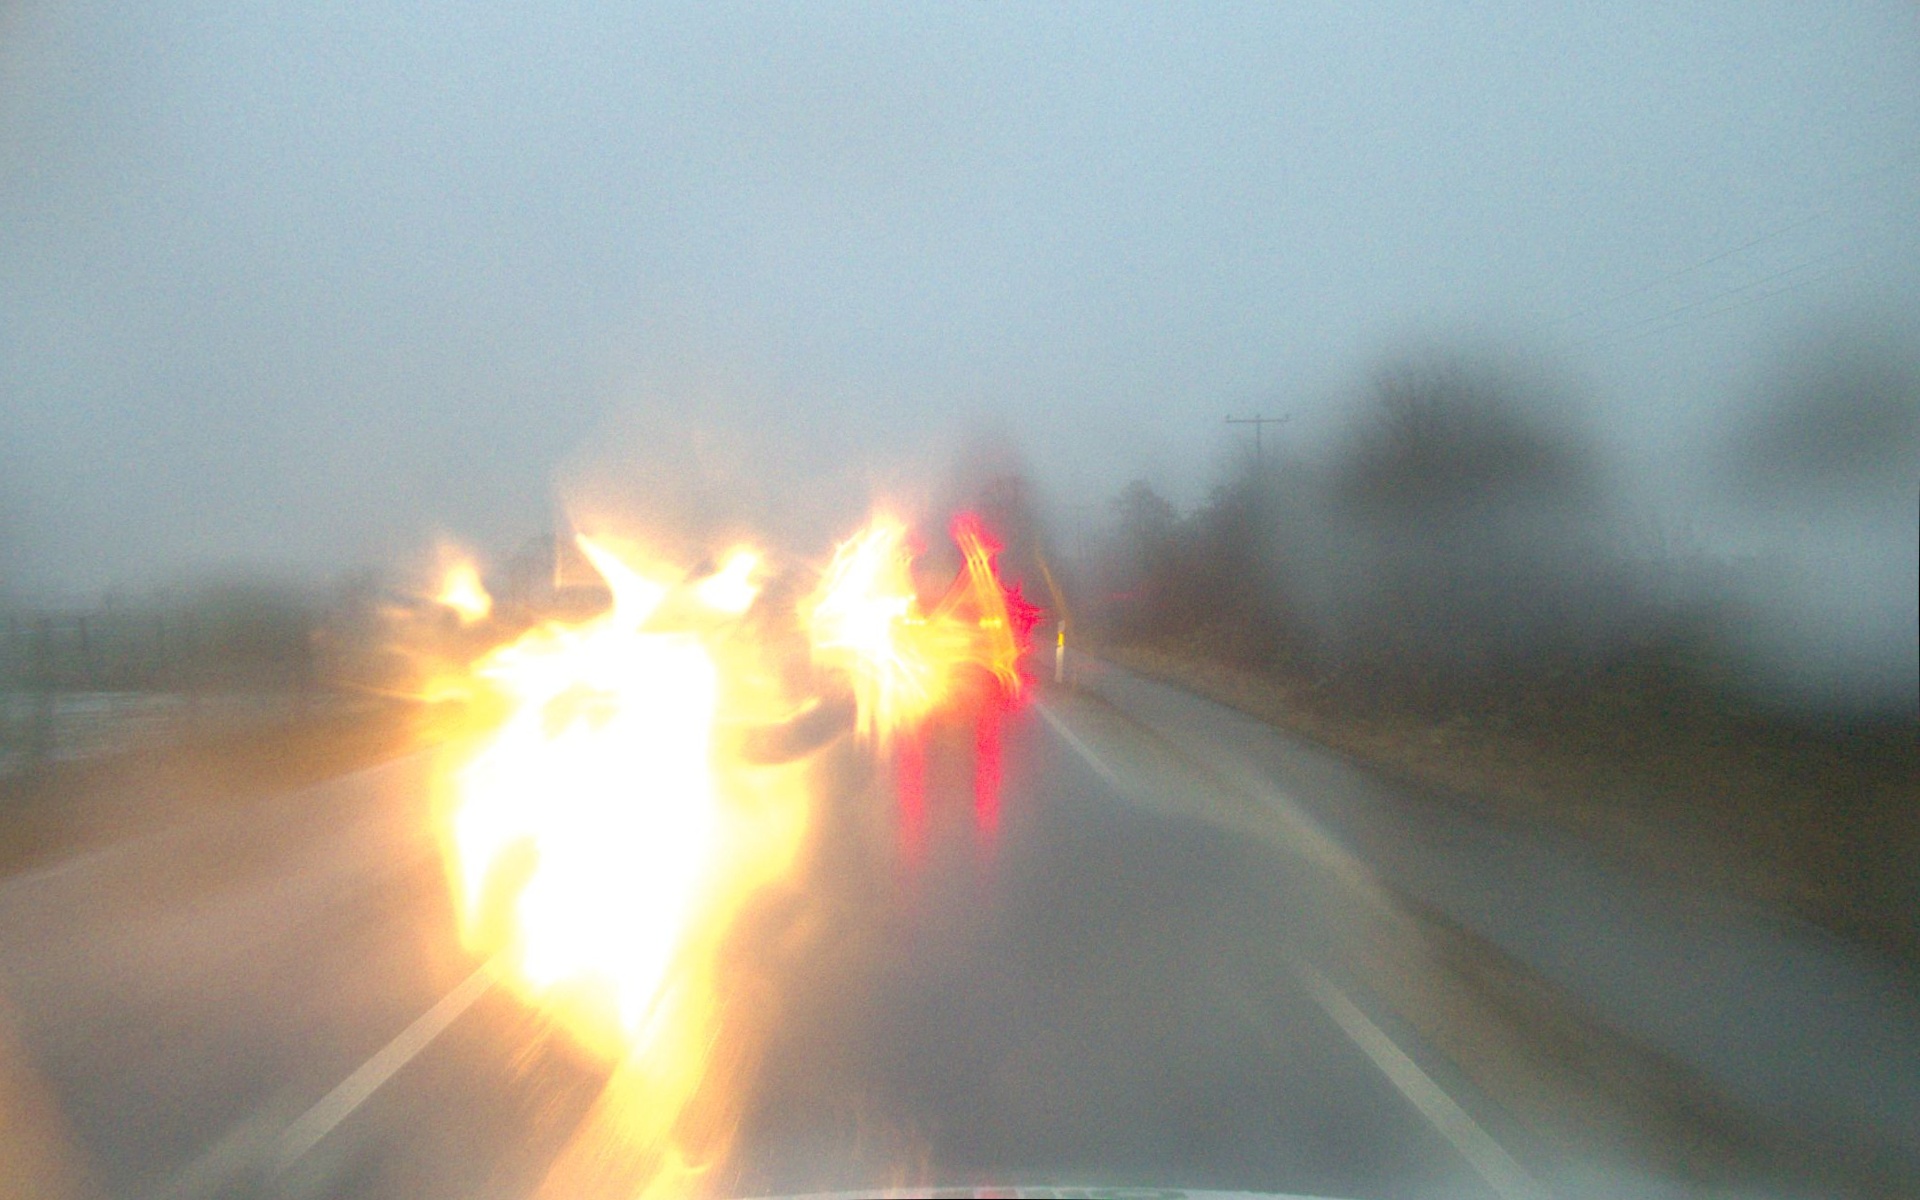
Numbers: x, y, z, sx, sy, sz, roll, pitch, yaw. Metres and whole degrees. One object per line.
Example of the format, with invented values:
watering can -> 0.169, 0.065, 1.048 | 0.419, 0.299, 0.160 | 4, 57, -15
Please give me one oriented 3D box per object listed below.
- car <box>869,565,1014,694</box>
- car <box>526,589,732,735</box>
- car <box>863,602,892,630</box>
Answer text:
car -> -0.293, 0.448, 26.216 | 2.077, 1.852, 4.979 | 0, -1, -1
car -> -3.740, 0.642, 19.278 | 1.654, 1.505, 3.773 | -1, 0, -1
car -> -5.295, 1.038, 106.553 | 1.759, 1.715, 4.185 | -1, 0, -2
